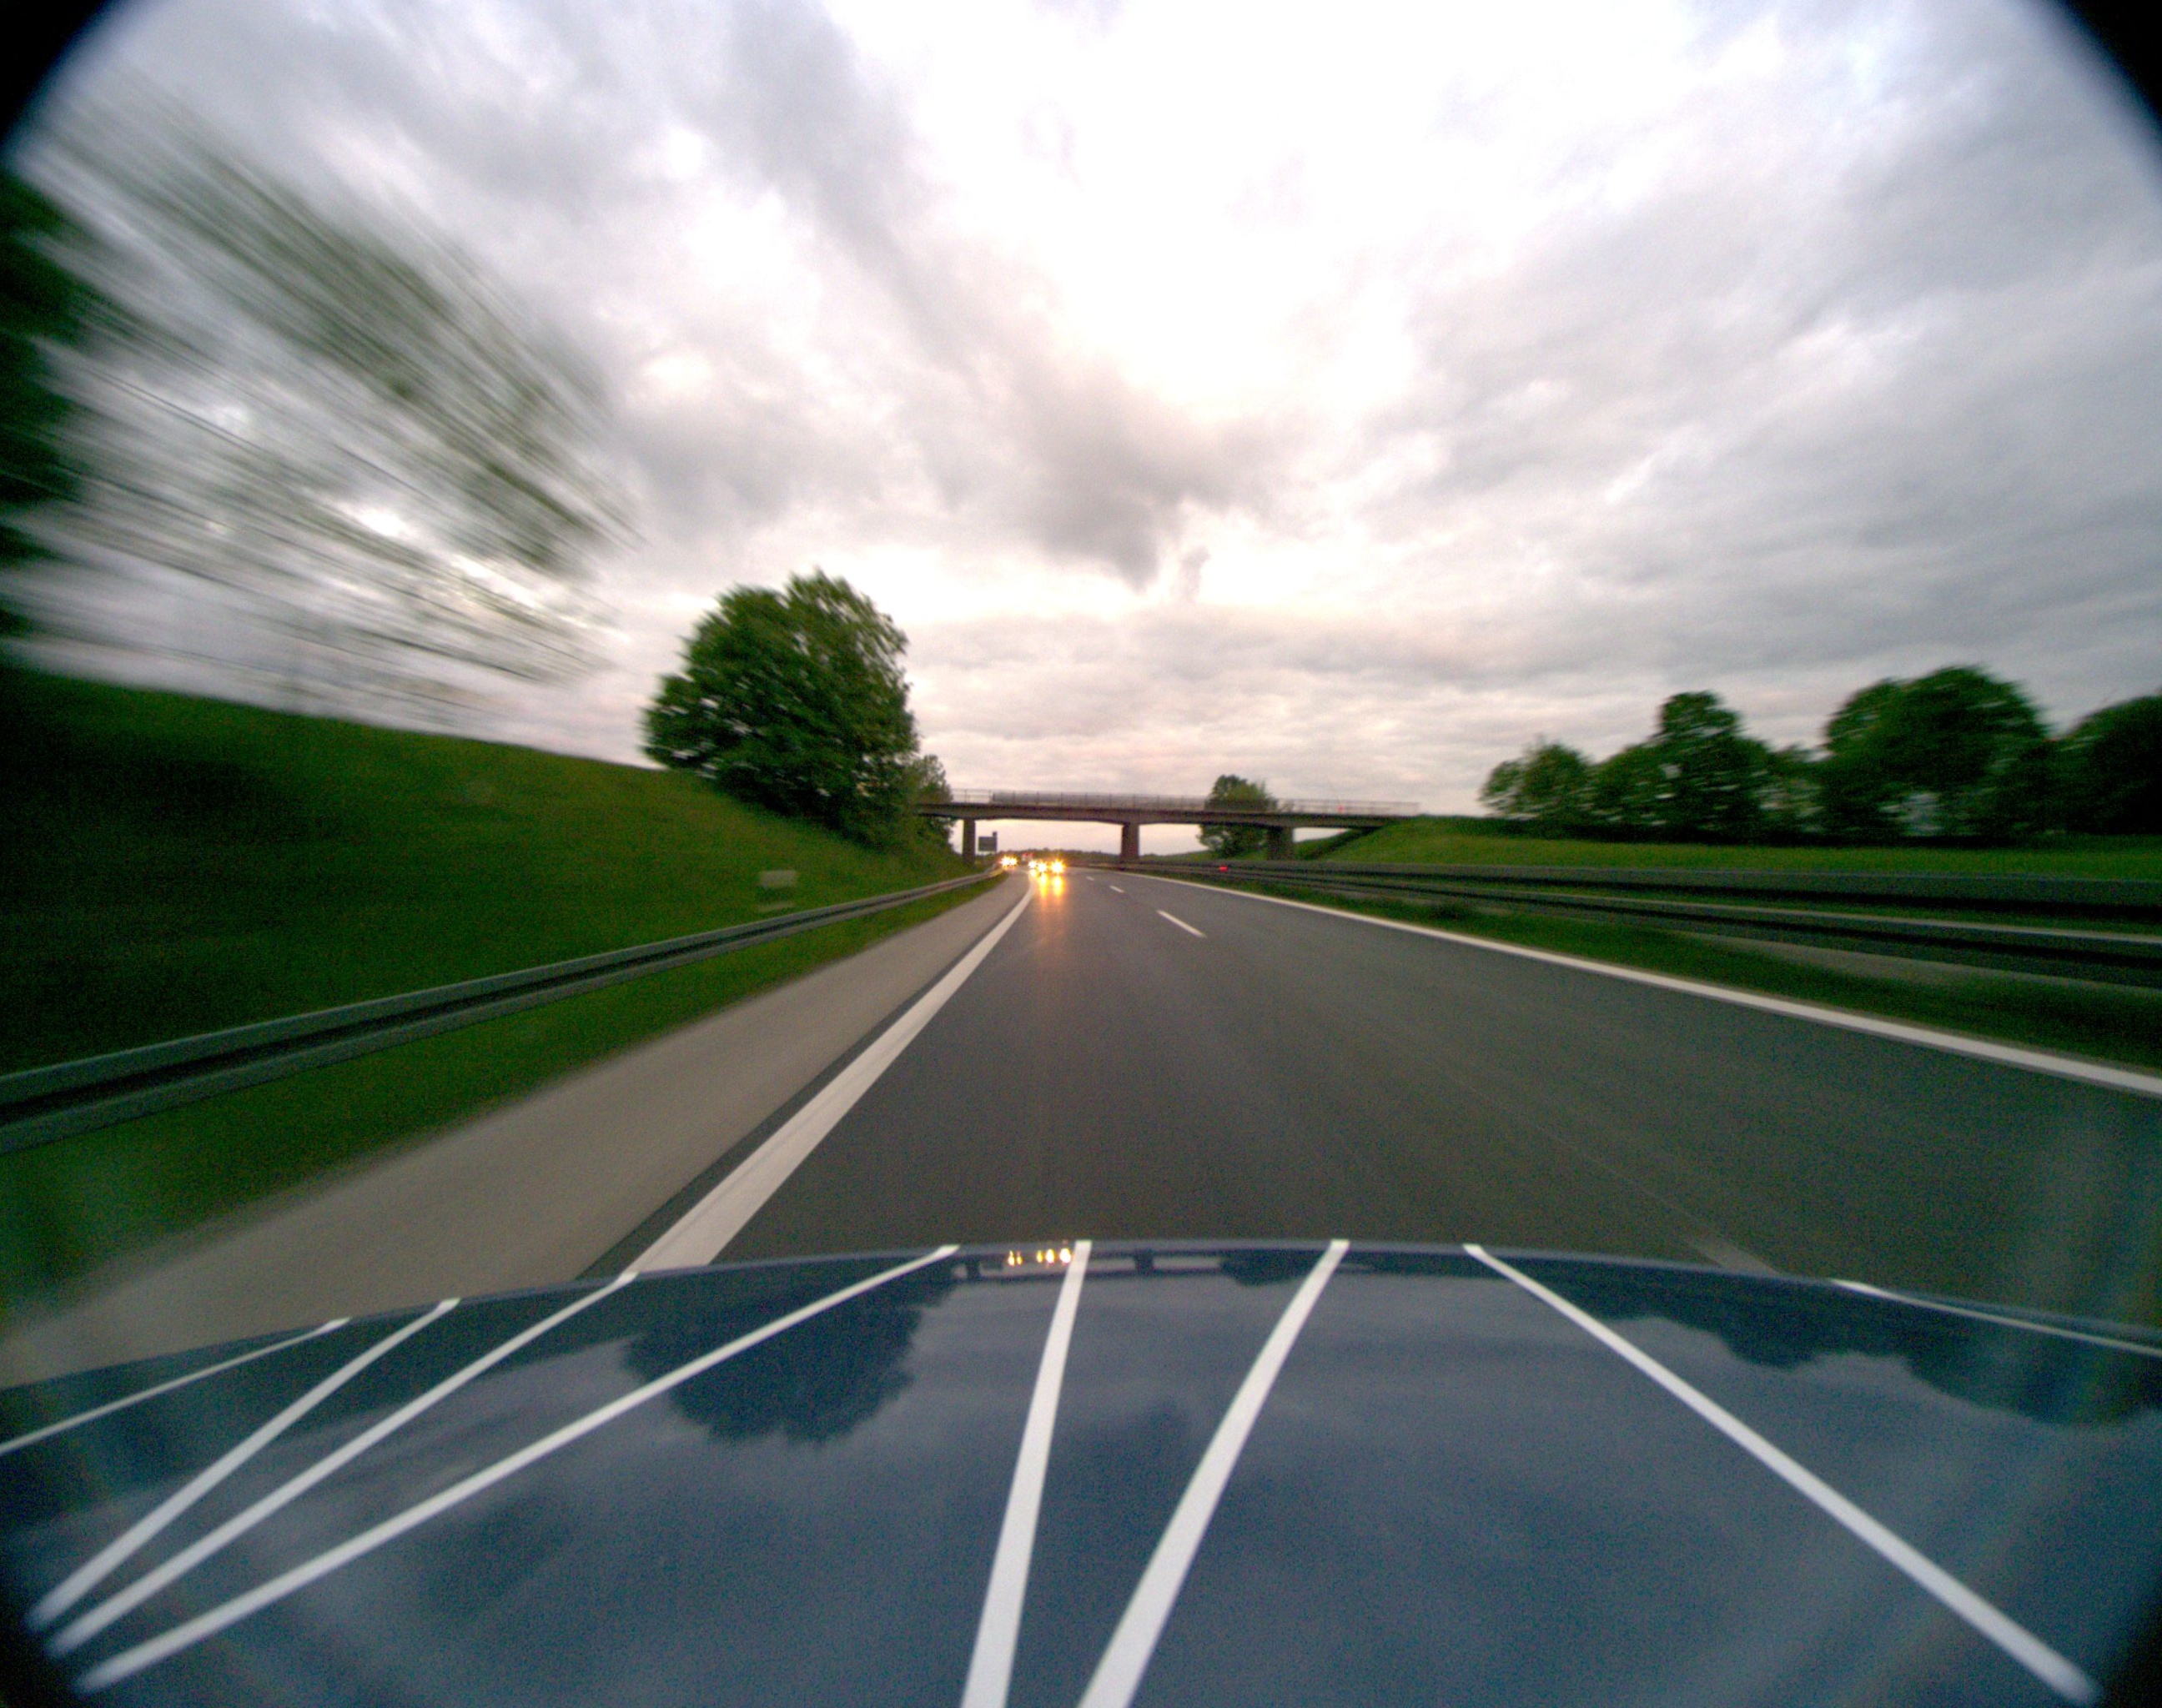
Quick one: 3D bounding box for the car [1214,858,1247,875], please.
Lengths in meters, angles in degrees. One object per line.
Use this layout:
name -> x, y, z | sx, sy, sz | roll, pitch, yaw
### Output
car -> 13.218, 1.088, 67.432 | 1.803, 1.433, 4.677 | 0, 0, -3

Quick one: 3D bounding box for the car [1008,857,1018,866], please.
car -> -13.945, 1.479, 155.394 | 1.920, 1.826, 3.998 | 0, -1, -7

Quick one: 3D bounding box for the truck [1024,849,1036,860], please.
truck -> -15.005, 0.241, 225.115 | 2.621, 3.091, 6.662 | -2, 0, -12

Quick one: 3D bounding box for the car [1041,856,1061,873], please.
car -> -2.692, 0.925, 68.510 | 1.682, 1.504, 3.998 | 0, 0, -4
